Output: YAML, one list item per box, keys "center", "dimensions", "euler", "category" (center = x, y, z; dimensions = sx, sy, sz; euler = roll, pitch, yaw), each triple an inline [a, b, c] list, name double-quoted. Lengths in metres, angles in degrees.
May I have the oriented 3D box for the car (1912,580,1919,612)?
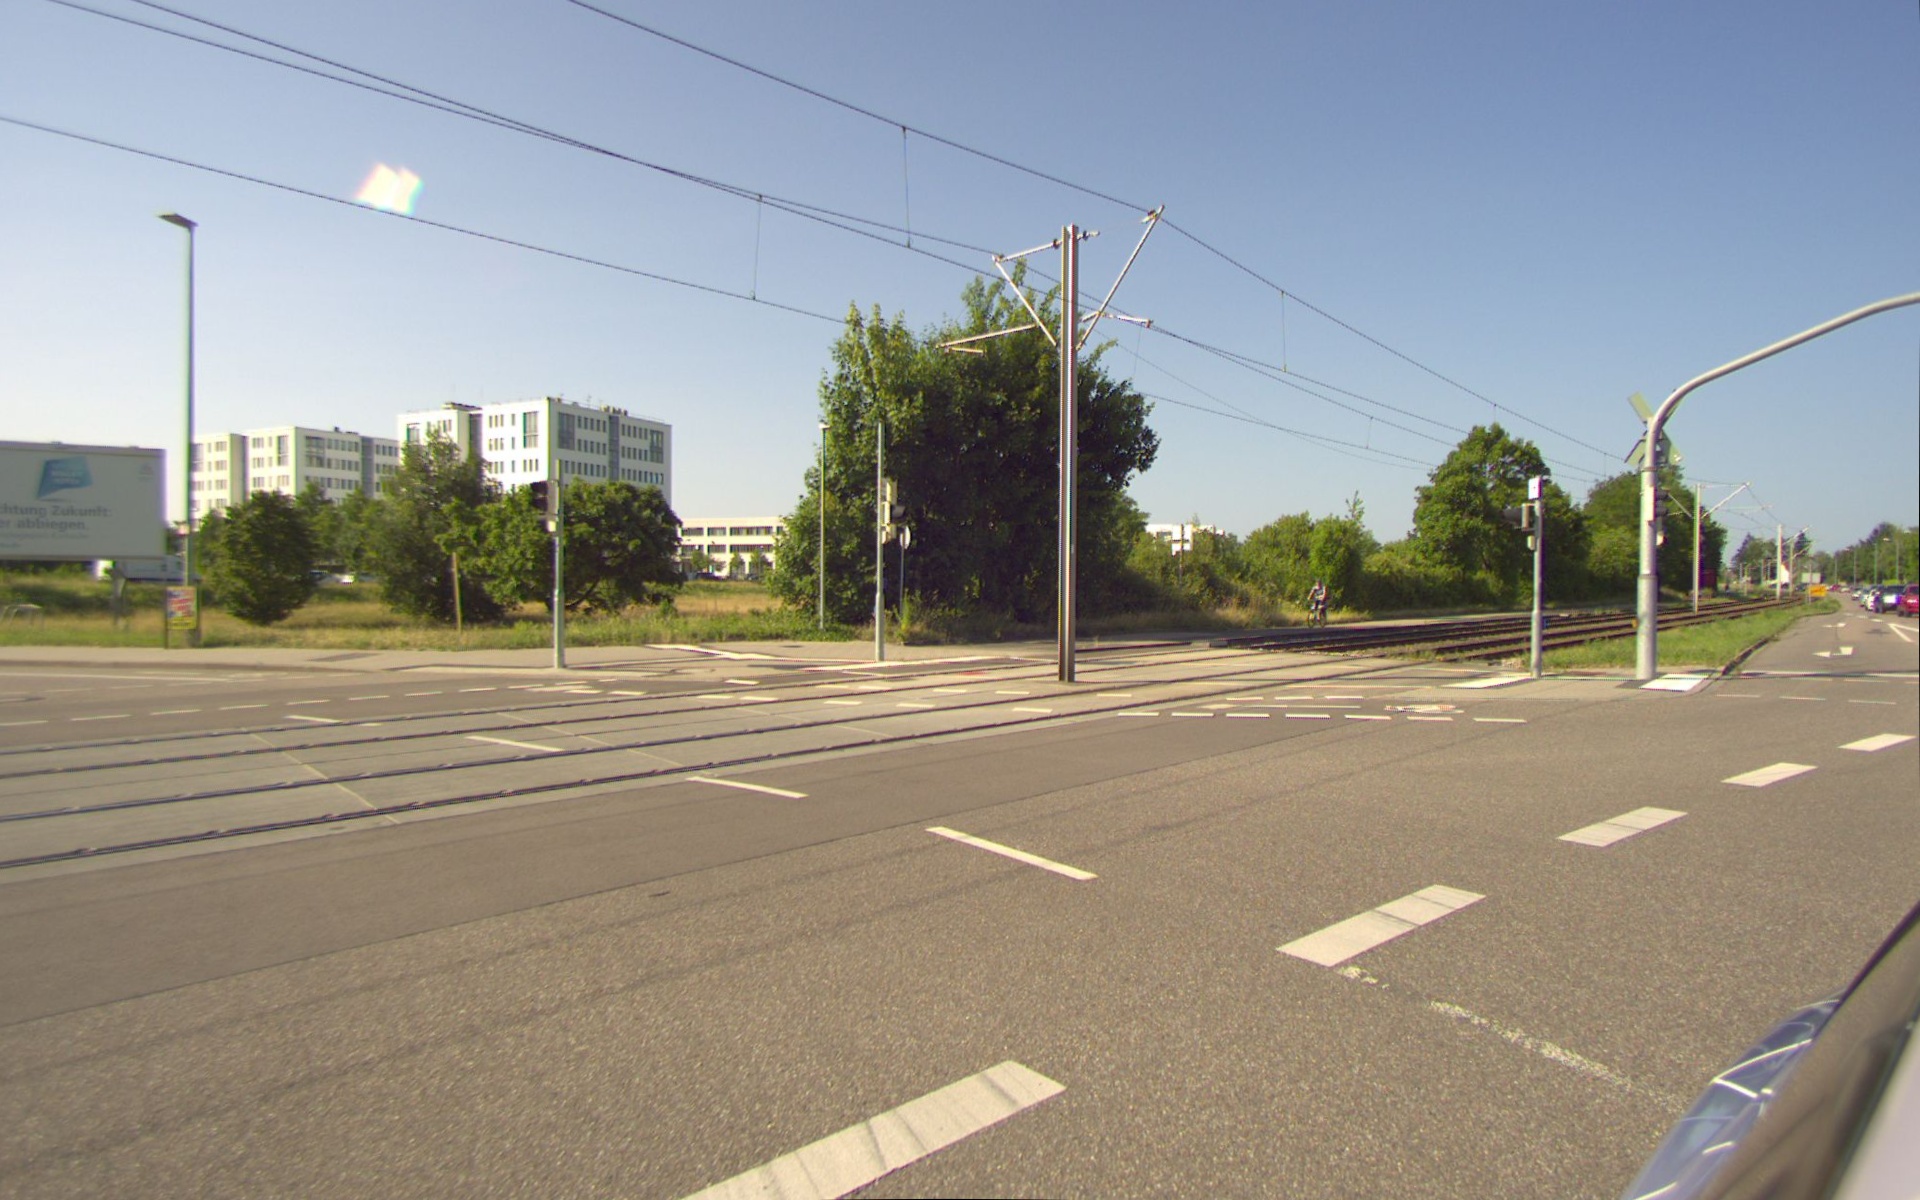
- center: [47.605, -0.221, 49.120]
  dimensions: [1.800, 1.525, 4.136]
  euler: [1, 1, 40]
  category: "car"

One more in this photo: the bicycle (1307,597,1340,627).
- center: [13.763, 0.448, 38.327]
  dimensions: [0.545, 1.060, 1.846]
  euler: [1, 2, 41]
  category: "bicycle"

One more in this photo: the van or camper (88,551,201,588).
- center: [-64.001, -2.382, 79.617]
  dimensions: [2.212, 2.813, 6.698]
  euler: [0, 1, 20]
  category: "van or camper"

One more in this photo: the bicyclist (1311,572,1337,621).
- center: [13.799, -0.147, 38.361]
  dimensions: [0.705, 1.830, 0.707]
  euler: [1, 1, 41]
  category: "bicyclist"
